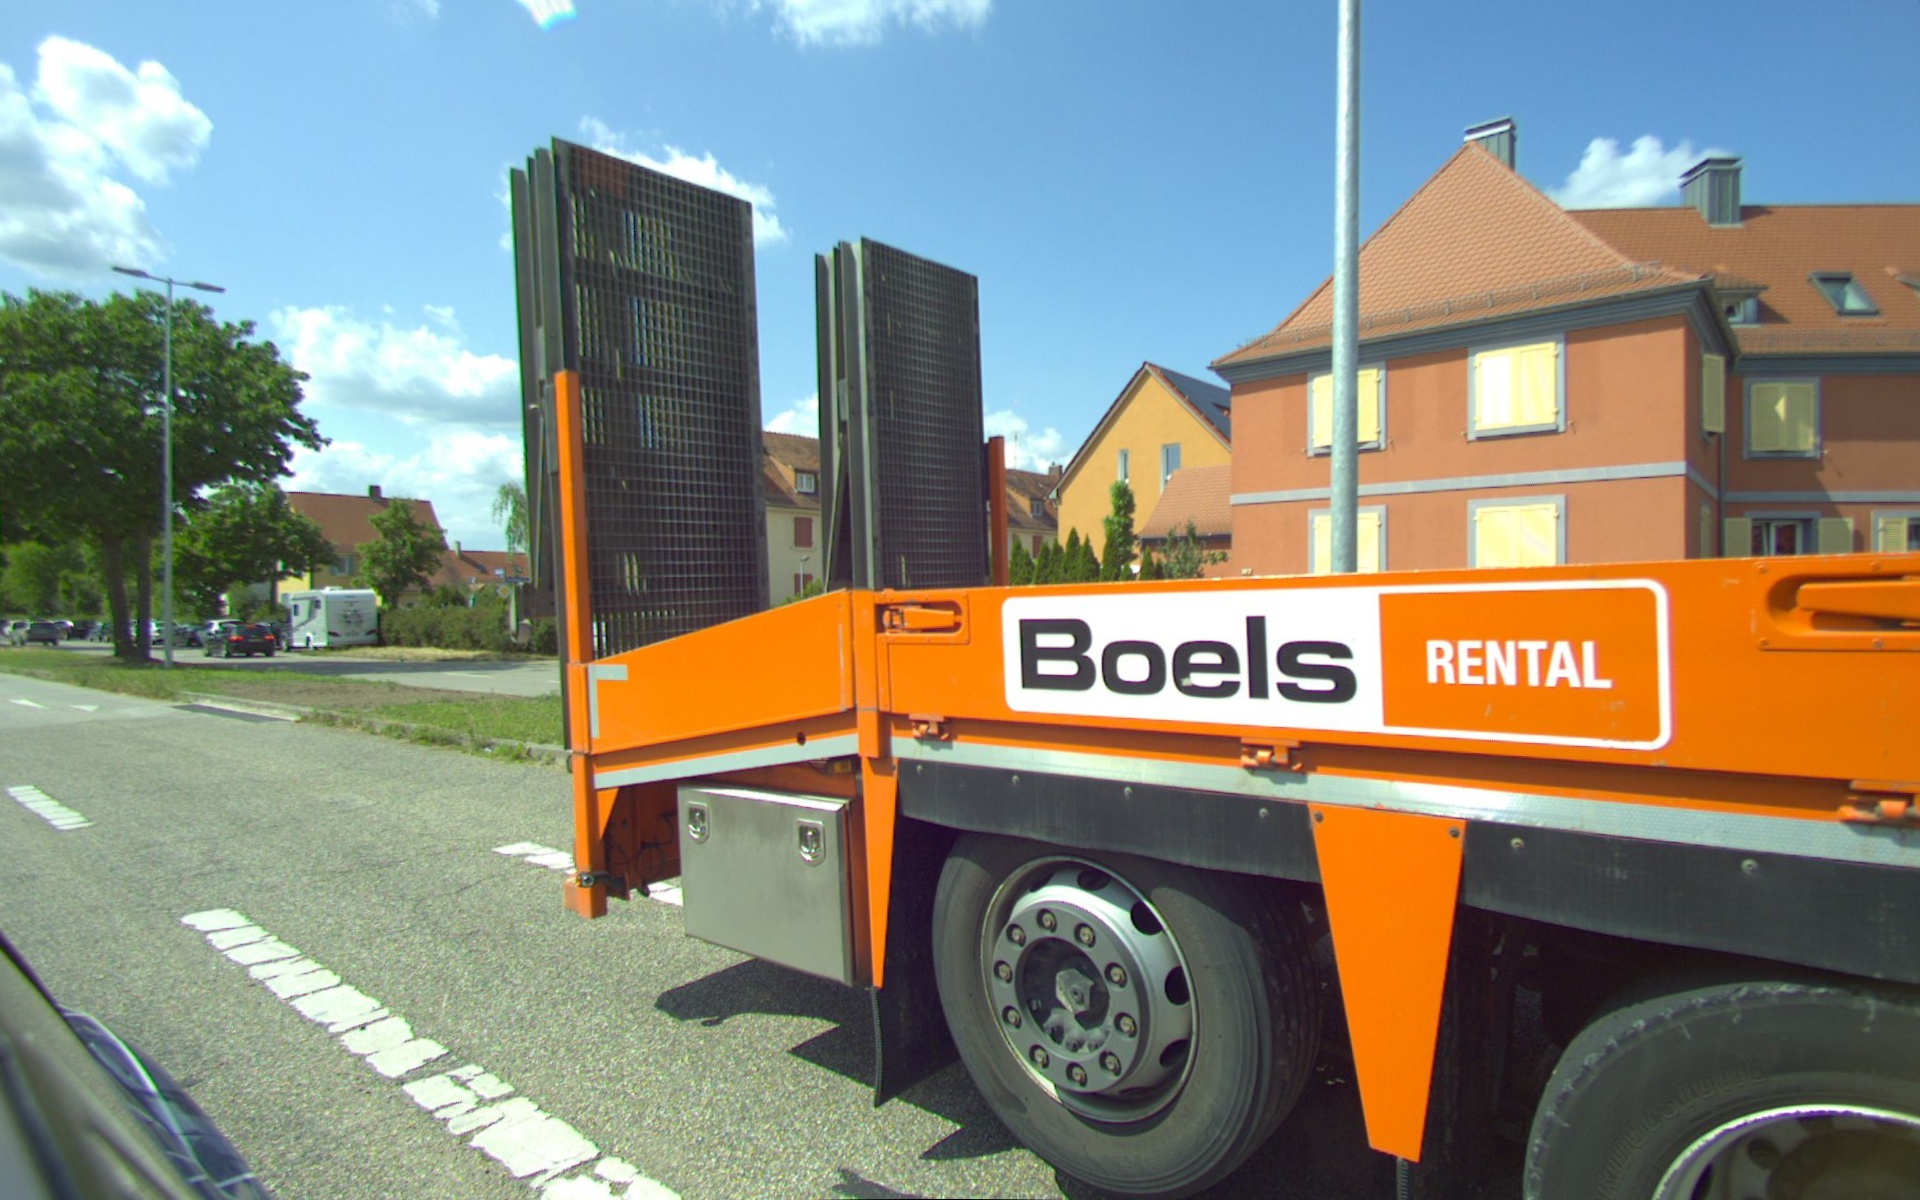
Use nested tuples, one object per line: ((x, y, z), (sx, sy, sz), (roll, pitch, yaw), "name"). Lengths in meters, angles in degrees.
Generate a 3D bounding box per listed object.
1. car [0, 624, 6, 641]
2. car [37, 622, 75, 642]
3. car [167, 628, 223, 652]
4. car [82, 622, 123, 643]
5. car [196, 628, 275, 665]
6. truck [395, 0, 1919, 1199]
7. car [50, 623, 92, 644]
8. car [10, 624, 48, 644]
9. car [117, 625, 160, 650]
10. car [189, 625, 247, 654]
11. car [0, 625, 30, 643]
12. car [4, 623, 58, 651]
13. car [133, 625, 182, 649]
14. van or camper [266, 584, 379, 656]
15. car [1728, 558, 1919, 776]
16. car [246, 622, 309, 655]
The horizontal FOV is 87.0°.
((-94.509, 3.162, 98.437), (3.993, 1.563, 1.751), (0, 2, 37), "car")
((-75.374, 2.656, 84.347), (3.840, 1.462, 1.645), (0, 2, 37), "car")
((-45.839, 2.379, 60.620), (4.580, 1.316, 1.620), (-2, 1, 40), "car")
((-62.733, 2.358, 74.036), (3.472, 1.405, 1.548), (0, 2, 38), "car")
((-31.129, 1.969, 43.442), (4.573, 1.449, 1.753), (-1, -1, 41), "car")
((3.171, -0.541, 1.215), (11.062, 3.439, 3.039), (0, 2, 41), "truck")
((-69.635, 2.612, 79.245), (4.096, 1.492, 1.645), (-2, 1, 37), "car")
((-81.167, 2.937, 88.216), (4.307, 1.624, 1.645), (0, 2, 37), "car")
((-55.344, 2.529, 68.129), (3.736, 1.569, 1.389), (-1, 1, 38), "car")
((-42.136, 2.215, 57.466), (4.120, 1.496, 1.672), (0, 2, 40), "car")
((-85.970, 3.070, 91.862), (3.529, 1.472, 1.579), (0, 2, 37), "car")
((-56.209, 2.237, 61.188), (4.648, 1.519, 1.715), (0, -3, 40), "car")
((-51.205, 2.362, 64.561), (4.527, 1.380, 1.496), (-1, 1, 40), "car")
((-30.088, 0.945, 47.627), (7.313, 3.135, 2.236), (-2, 1, 40), "van or camper")
((8.684, 0.518, 8.063), (3.997, 1.702, 1.776), (-1, -1, 40), "car")
((-35.444, 1.964, 52.493), (3.989, 1.496, 1.620), (0, 2, 40), "car")
